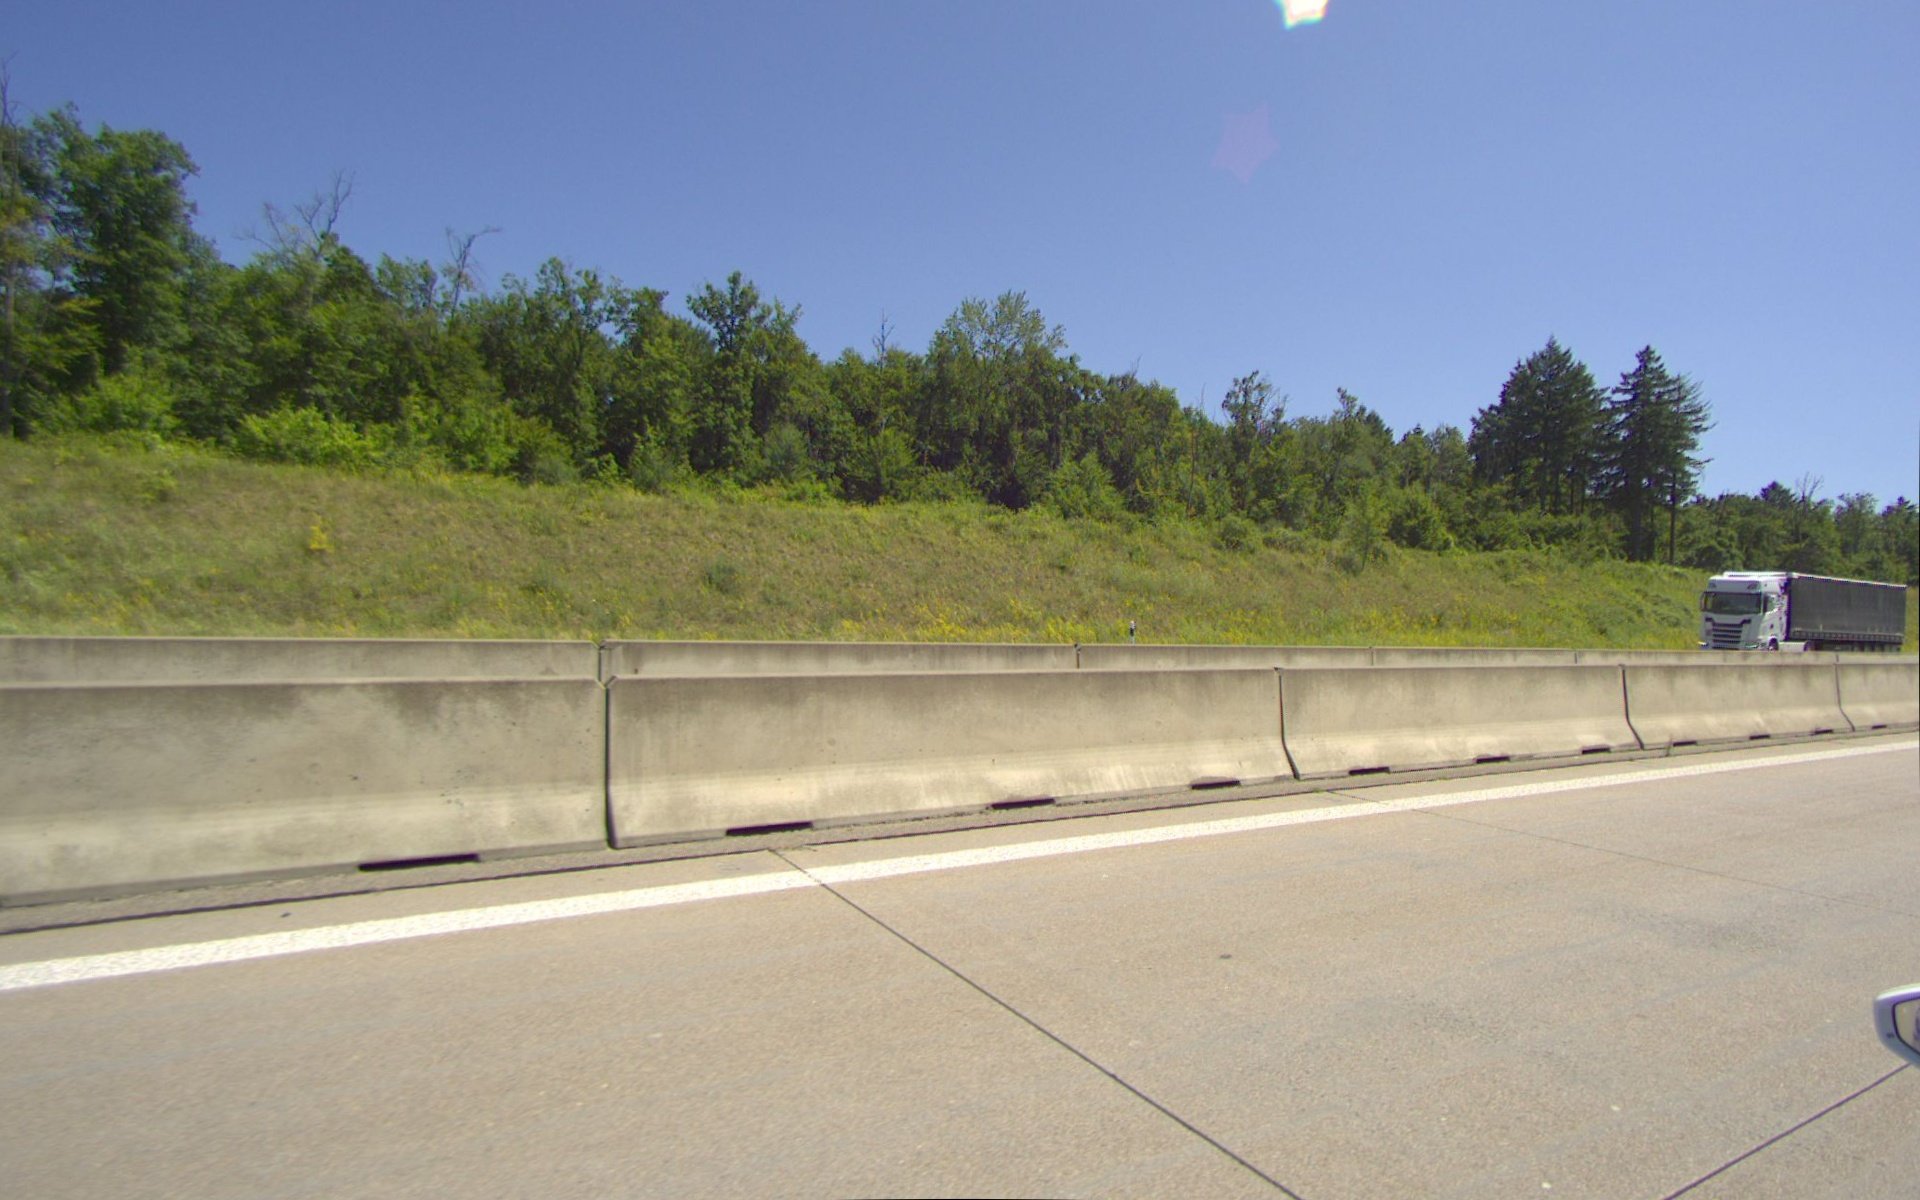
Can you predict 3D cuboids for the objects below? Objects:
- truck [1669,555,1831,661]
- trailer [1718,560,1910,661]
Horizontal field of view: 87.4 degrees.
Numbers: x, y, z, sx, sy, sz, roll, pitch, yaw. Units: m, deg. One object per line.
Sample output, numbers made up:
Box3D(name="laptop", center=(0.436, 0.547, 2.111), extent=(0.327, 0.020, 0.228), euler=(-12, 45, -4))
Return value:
Box3D(name="truck", center=(37.062, 0.449, 47.060), extent=(7.891, 4.564, 3.241), euler=(2, -1, -30))
Box3D(name="trailer", center=(43.322, 0.689, 50.758), extent=(12.965, 4.564, 3.241), euler=(2, -1, -30))
